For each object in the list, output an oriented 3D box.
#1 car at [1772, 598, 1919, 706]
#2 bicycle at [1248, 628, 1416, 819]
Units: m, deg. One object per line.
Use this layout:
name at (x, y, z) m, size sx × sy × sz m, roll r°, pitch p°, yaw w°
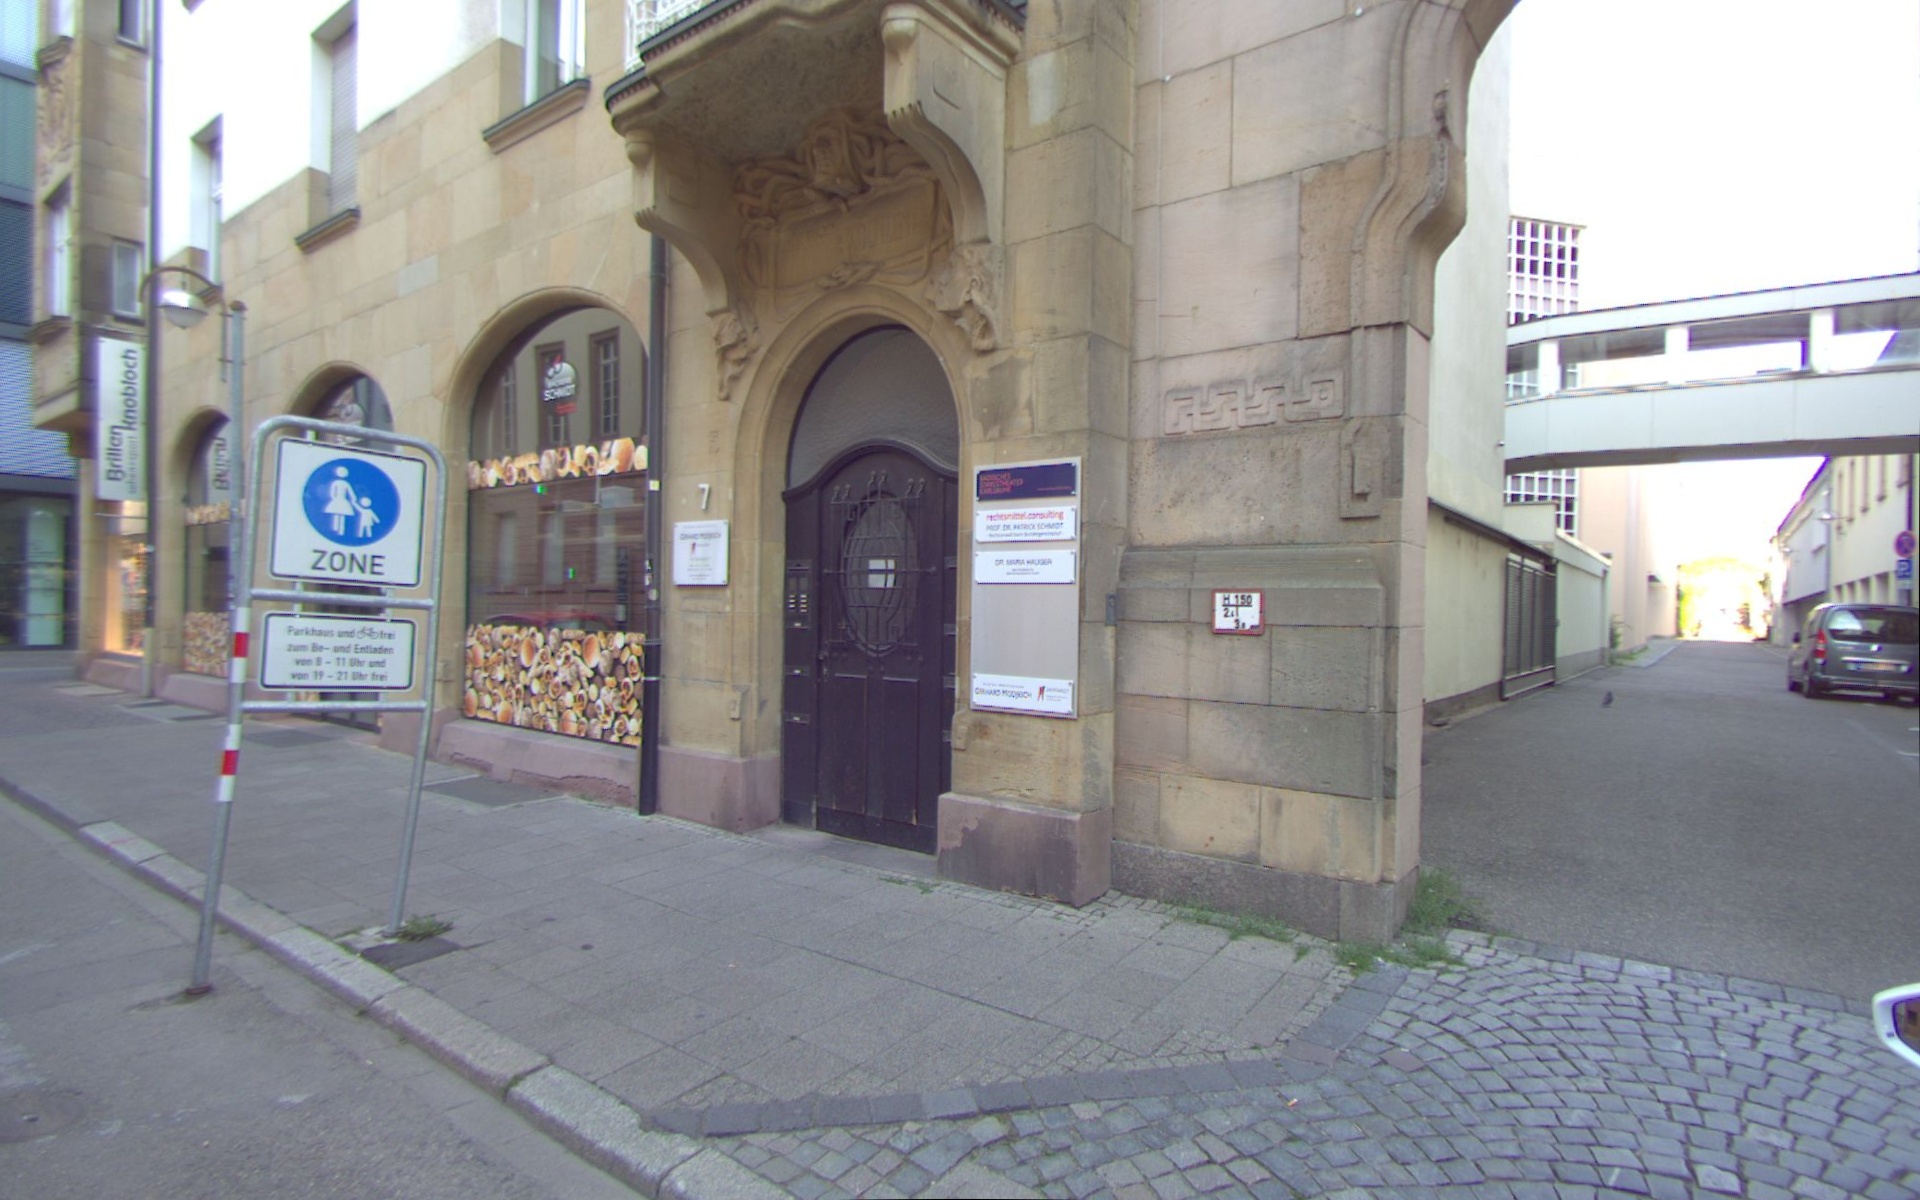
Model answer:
car at (17.269, 0.967, 19.530) m, size 1.830 × 1.779 × 4.150 m, roll 4°, pitch 1°, yaw 34°
bicycle at (2.554, 0.748, 6.780) m, size 0.587 × 1.094 × 1.749 m, roll 1°, pitch 0°, yaw 37°
